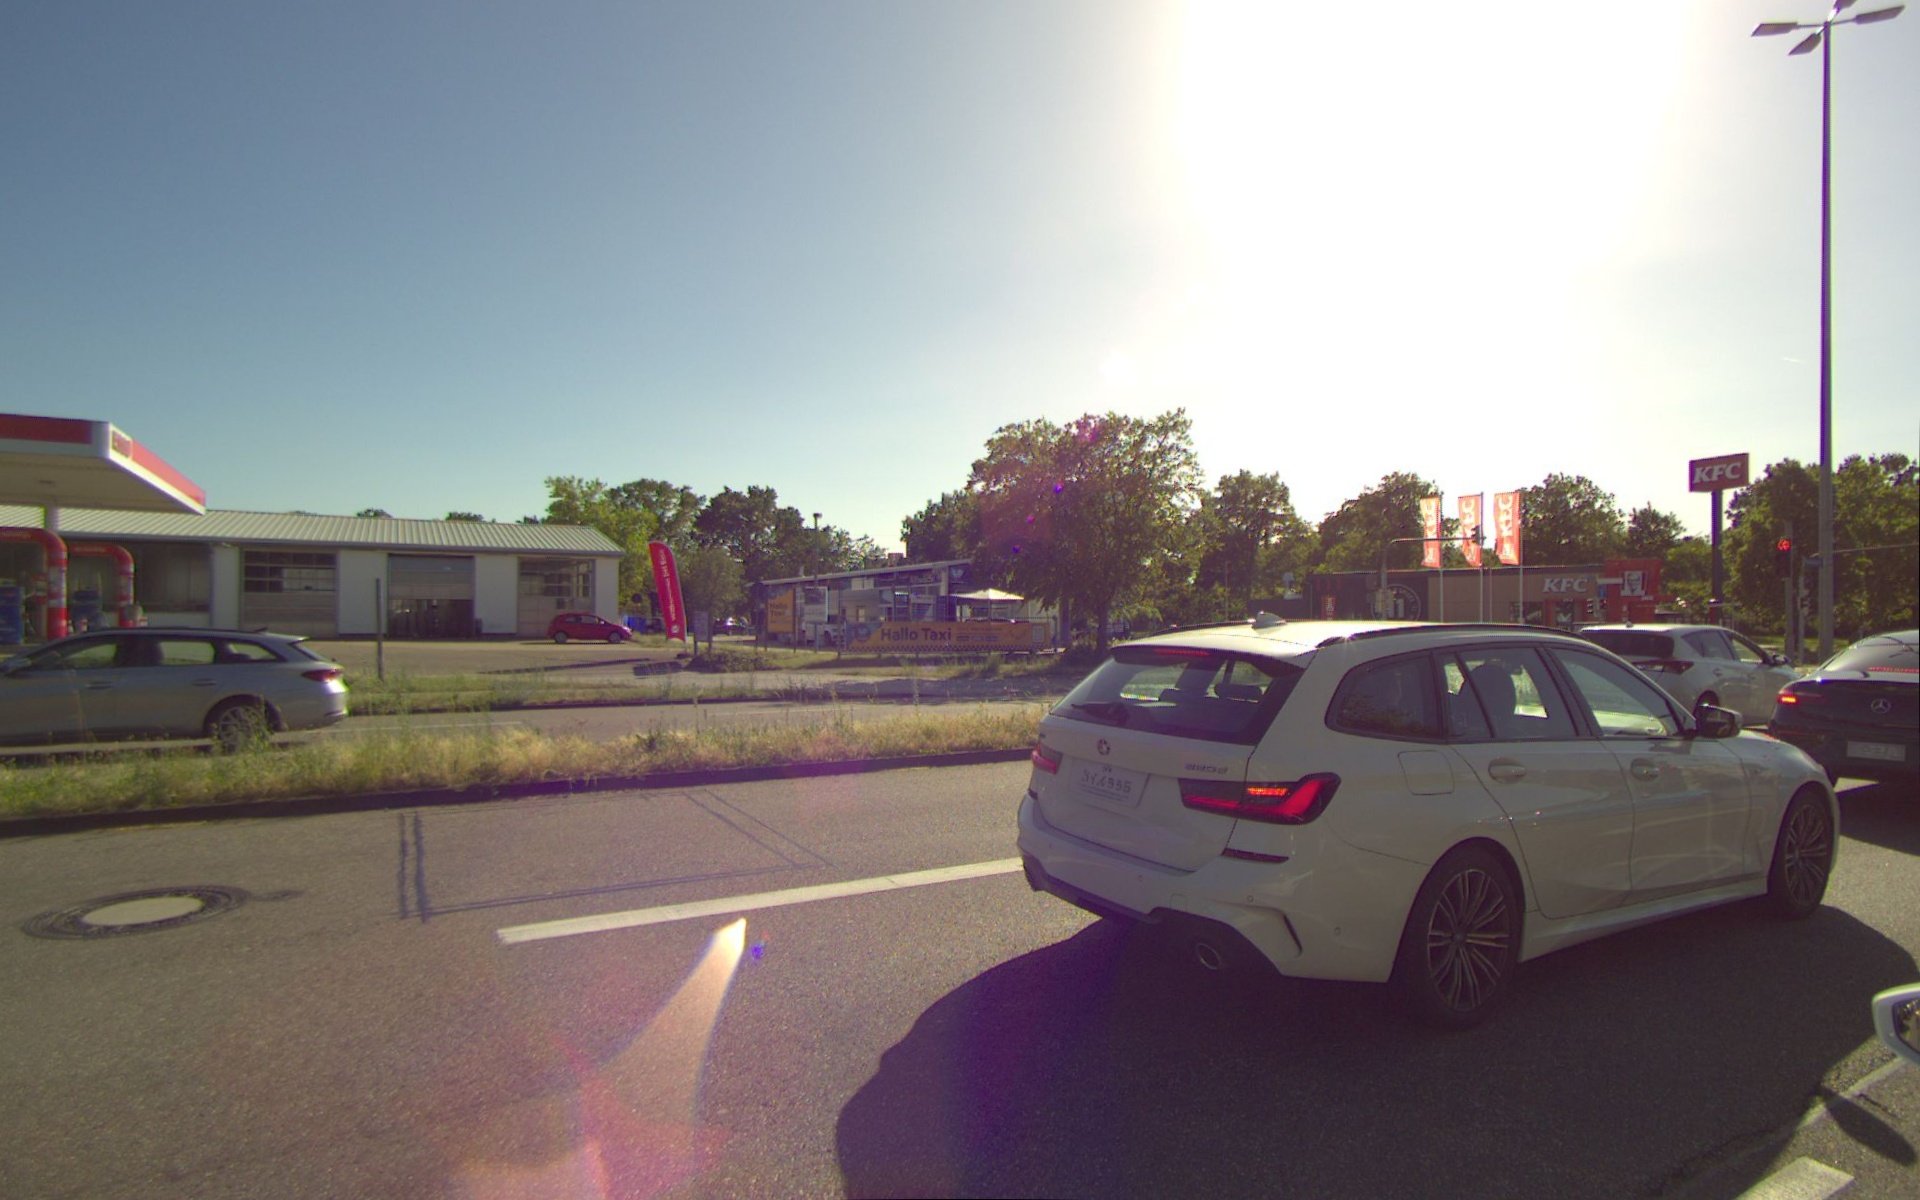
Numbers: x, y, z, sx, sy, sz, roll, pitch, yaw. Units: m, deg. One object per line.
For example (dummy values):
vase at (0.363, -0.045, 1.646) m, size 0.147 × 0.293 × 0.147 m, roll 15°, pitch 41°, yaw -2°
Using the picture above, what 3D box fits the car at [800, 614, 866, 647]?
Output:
car at (-6.755, 1.606, 53.084) m, size 1.978 × 1.584 × 3.964 m, roll 2°, pitch 0°, yaw -32°

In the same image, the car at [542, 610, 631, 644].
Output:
car at (-18.352, 1.325, 49.399) m, size 3.946 × 1.537 × 1.772 m, roll 2°, pitch 0°, yaw -25°

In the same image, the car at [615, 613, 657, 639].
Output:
car at (-19.309, 1.536, 59.725) m, size 1.634 × 1.383 × 3.744 m, roll 2°, pitch 0°, yaw -29°

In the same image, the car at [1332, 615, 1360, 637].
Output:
car at (28.282, 1.887, 73.654) m, size 1.629 × 1.491 × 3.919 m, roll 2°, pitch 0°, yaw 18°

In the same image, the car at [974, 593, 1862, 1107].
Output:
car at (2.384, 0.794, 4.870) m, size 4.353 × 1.510 × 1.776 m, roll 2°, pitch 0°, yaw -31°

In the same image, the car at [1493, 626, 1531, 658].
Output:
car at (33.083, 2.468, 60.202) m, size 1.880 × 1.776 × 4.349 m, roll 2°, pitch 0°, yaw 29°

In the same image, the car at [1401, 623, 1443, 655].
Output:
car at (28.337, 2.337, 61.519) m, size 1.964 × 1.788 × 4.349 m, roll 2°, pitch 0°, yaw 29°

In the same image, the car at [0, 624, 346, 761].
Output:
car at (-9.684, 1.030, 11.714) m, size 4.259 × 1.428 × 1.719 m, roll 2°, pitch -4°, yaw -33°

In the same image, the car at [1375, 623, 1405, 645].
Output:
car at (31.294, 2.439, 73.220) m, size 1.629 × 1.491 × 3.919 m, roll 2°, pitch 0°, yaw 18°

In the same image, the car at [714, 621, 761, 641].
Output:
car at (-19.403, 2.708, 87.618) m, size 3.929 × 1.634 × 1.996 m, roll 2°, pitch 0°, yaw -11°

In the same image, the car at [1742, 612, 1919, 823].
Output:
car at (8.775, 0.927, 8.634) m, size 4.425 × 1.510 × 1.787 m, roll 2°, pitch 0°, yaw -31°

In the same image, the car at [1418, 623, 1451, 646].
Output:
car at (33.927, 2.448, 71.947) m, size 1.629 × 1.491 × 3.919 m, roll 2°, pitch 0°, yaw 18°

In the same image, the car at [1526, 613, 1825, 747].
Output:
car at (9.593, 0.988, 13.400) m, size 4.150 × 1.510 × 1.750 m, roll 2°, pitch 0°, yaw -31°

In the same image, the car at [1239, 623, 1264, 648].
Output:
car at (21.803, 2.614, 75.151) m, size 1.629 × 1.695 × 3.945 m, roll 2°, pitch 0°, yaw 18°
